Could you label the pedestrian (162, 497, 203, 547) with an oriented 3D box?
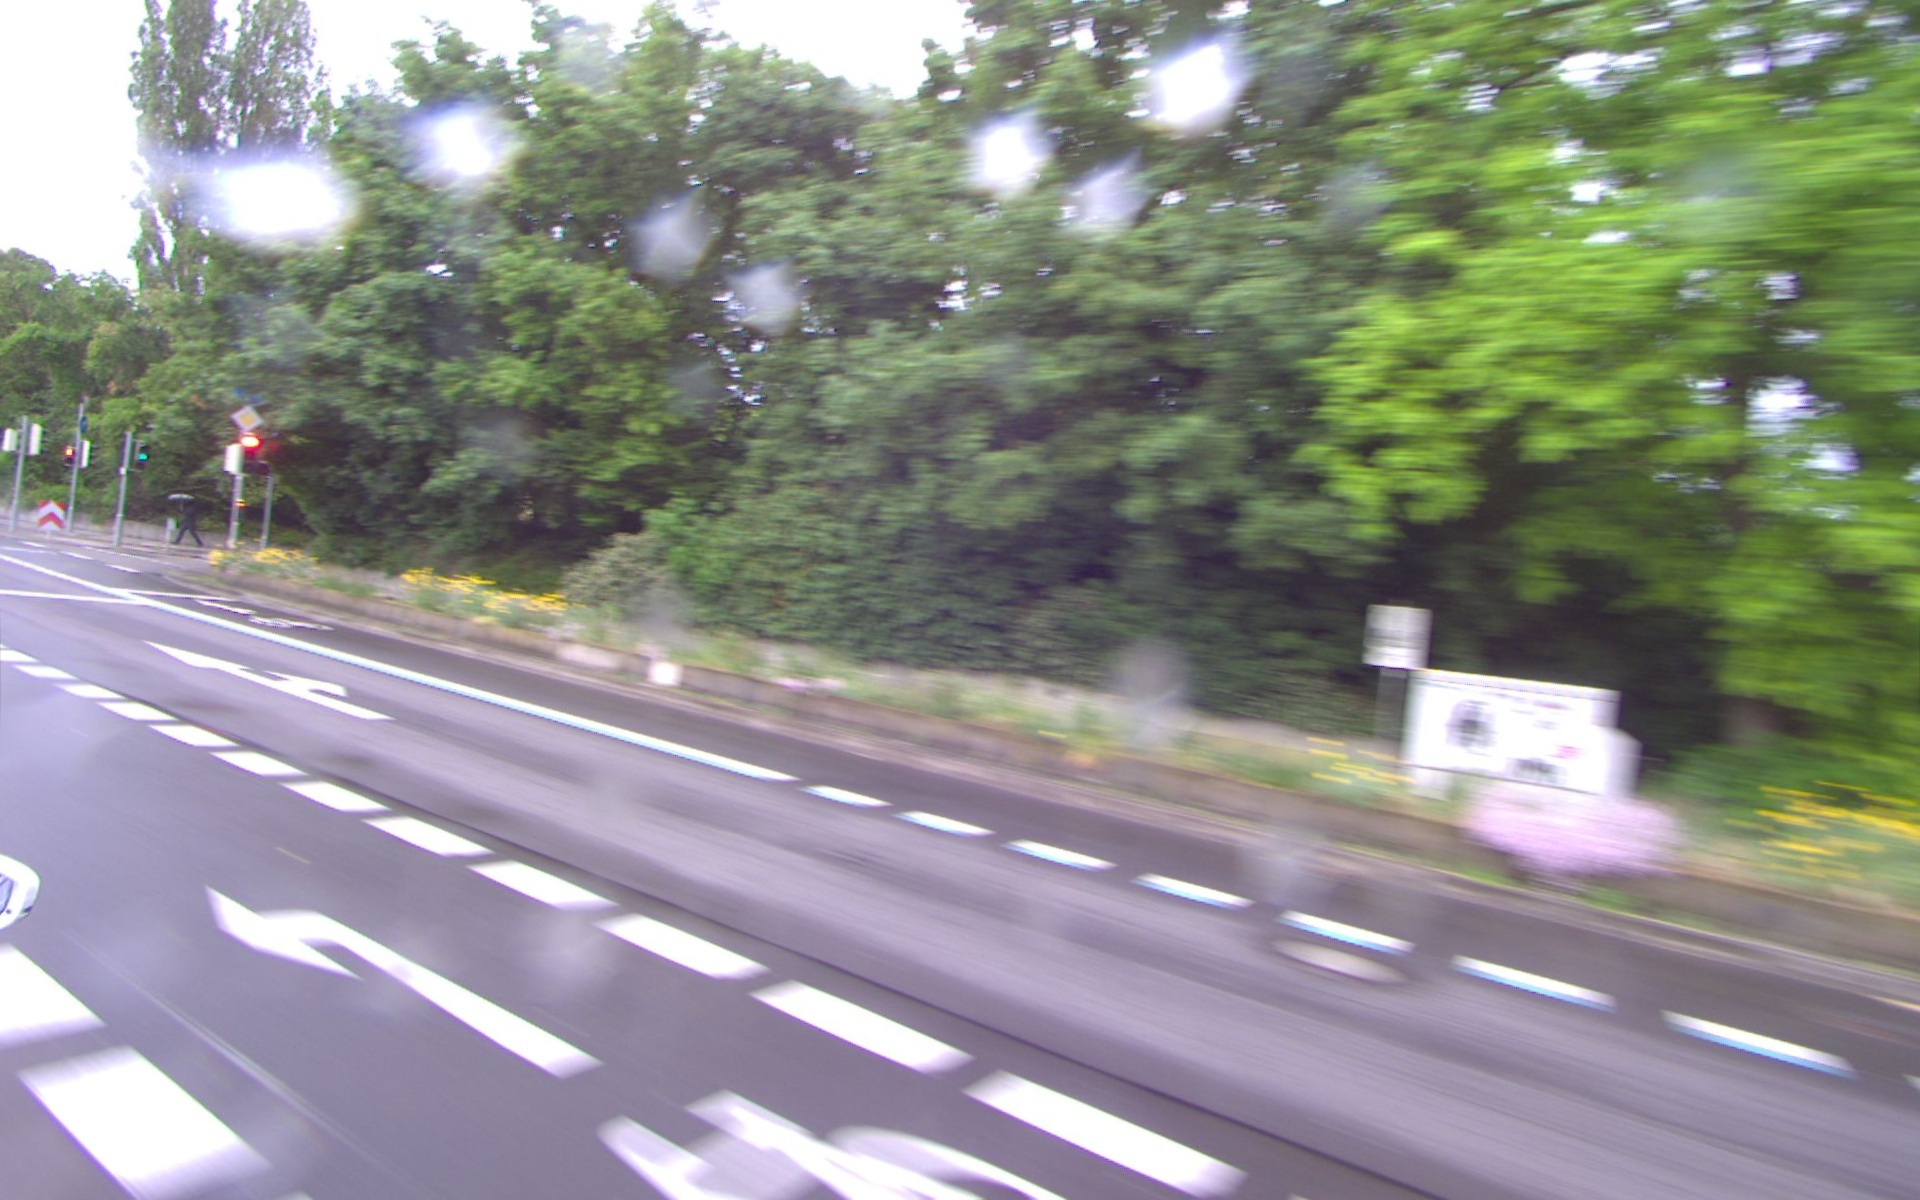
[{"bbox_3d":[-27.479,-2.742,35.552,0.672,1.625,0.809,5,-2,32],"label":"pedestrian"}]
